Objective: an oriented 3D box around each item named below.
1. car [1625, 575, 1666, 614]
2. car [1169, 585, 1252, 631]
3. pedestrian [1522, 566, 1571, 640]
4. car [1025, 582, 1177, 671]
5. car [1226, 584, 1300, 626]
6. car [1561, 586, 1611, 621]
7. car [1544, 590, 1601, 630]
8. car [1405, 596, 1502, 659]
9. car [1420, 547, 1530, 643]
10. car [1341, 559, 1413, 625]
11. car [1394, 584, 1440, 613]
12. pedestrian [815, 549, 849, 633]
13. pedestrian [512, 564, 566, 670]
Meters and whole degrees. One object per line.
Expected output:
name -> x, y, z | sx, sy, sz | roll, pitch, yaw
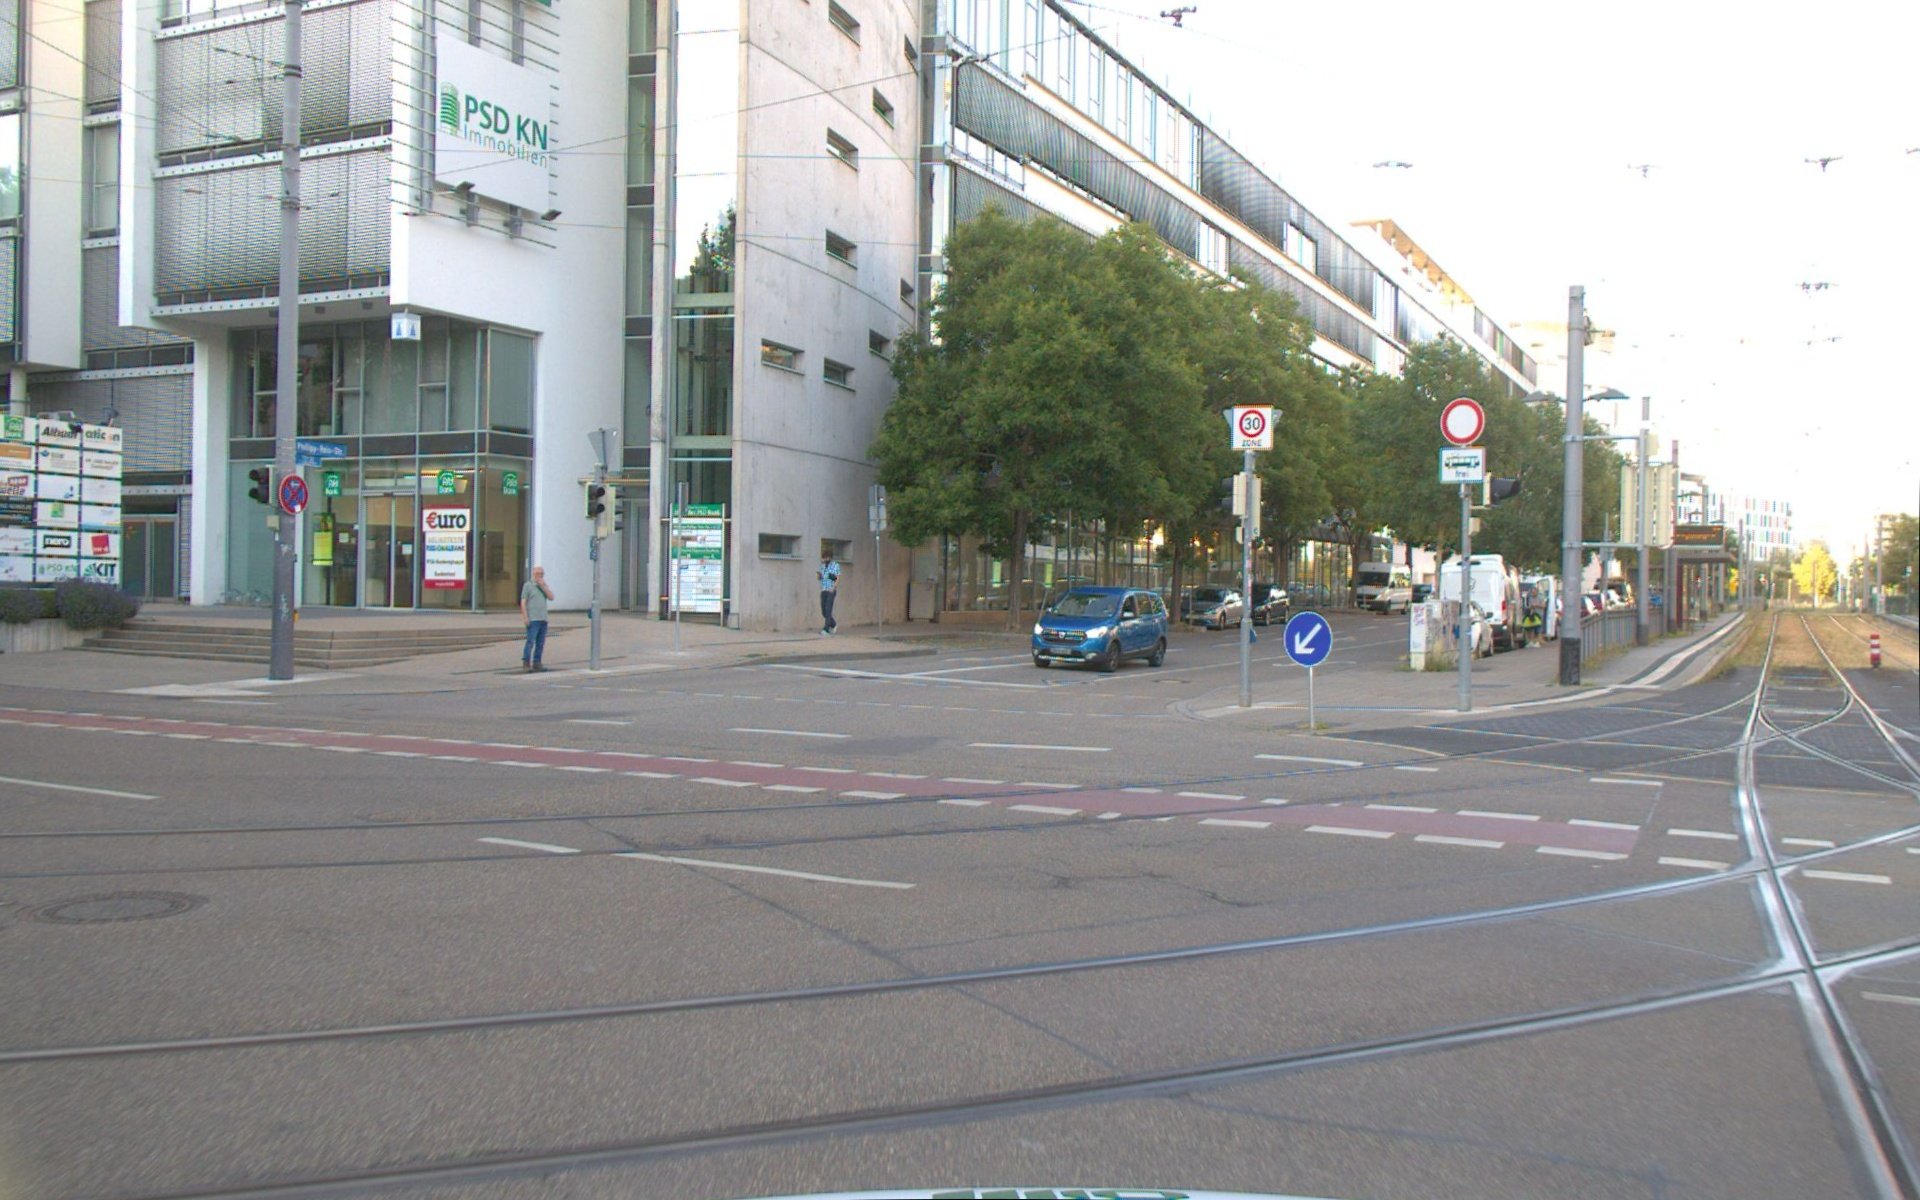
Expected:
car -> 38.102, -0.320, 91.887 | 1.954, 2.049, 3.998 | 1, 1, 25
car -> 8.905, 0.257, 58.545 | 1.650, 1.528, 4.234 | 1, 1, 27
pedestrian -> 16.665, 0.078, 47.021 | 1.018, 2.065, 0.984 | 1, 1, -1
car -> 3.047, 0.504, 34.858 | 1.650, 1.729, 4.233 | 1, 1, 28
car -> 11.760, 0.166, 63.990 | 1.650, 1.528, 4.234 | 1, 1, 27
car -> 27.279, 0.143, 72.039 | 1.650, 1.464, 4.122 | 1, 1, 26
car -> 23.793, 0.370, 64.189 | 1.650, 1.464, 4.122 | 1, 1, 26
car -> 12.491, 0.654, 41.715 | 1.650, 1.464, 4.122 | 1, 1, 26
car -> 14.727, -0.167, 47.046 | 2.411, 2.525, 5.807 | 1, 1, 23
car -> 21.122, -0.411, 83.571 | 2.159, 3.207, 6.135 | 1, 1, 27
car -> 25.395, -0.084, 91.825 | 1.650, 1.528, 4.234 | 1, 1, 27
pedestrian -> -2.998, -0.225, 38.849 | 0.648, 1.956, 0.548 | 0, 0, 16
pedestrian -> -7.045, 0.270, 27.680 | 0.537, 1.741, 0.657 | 1, 1, 36
